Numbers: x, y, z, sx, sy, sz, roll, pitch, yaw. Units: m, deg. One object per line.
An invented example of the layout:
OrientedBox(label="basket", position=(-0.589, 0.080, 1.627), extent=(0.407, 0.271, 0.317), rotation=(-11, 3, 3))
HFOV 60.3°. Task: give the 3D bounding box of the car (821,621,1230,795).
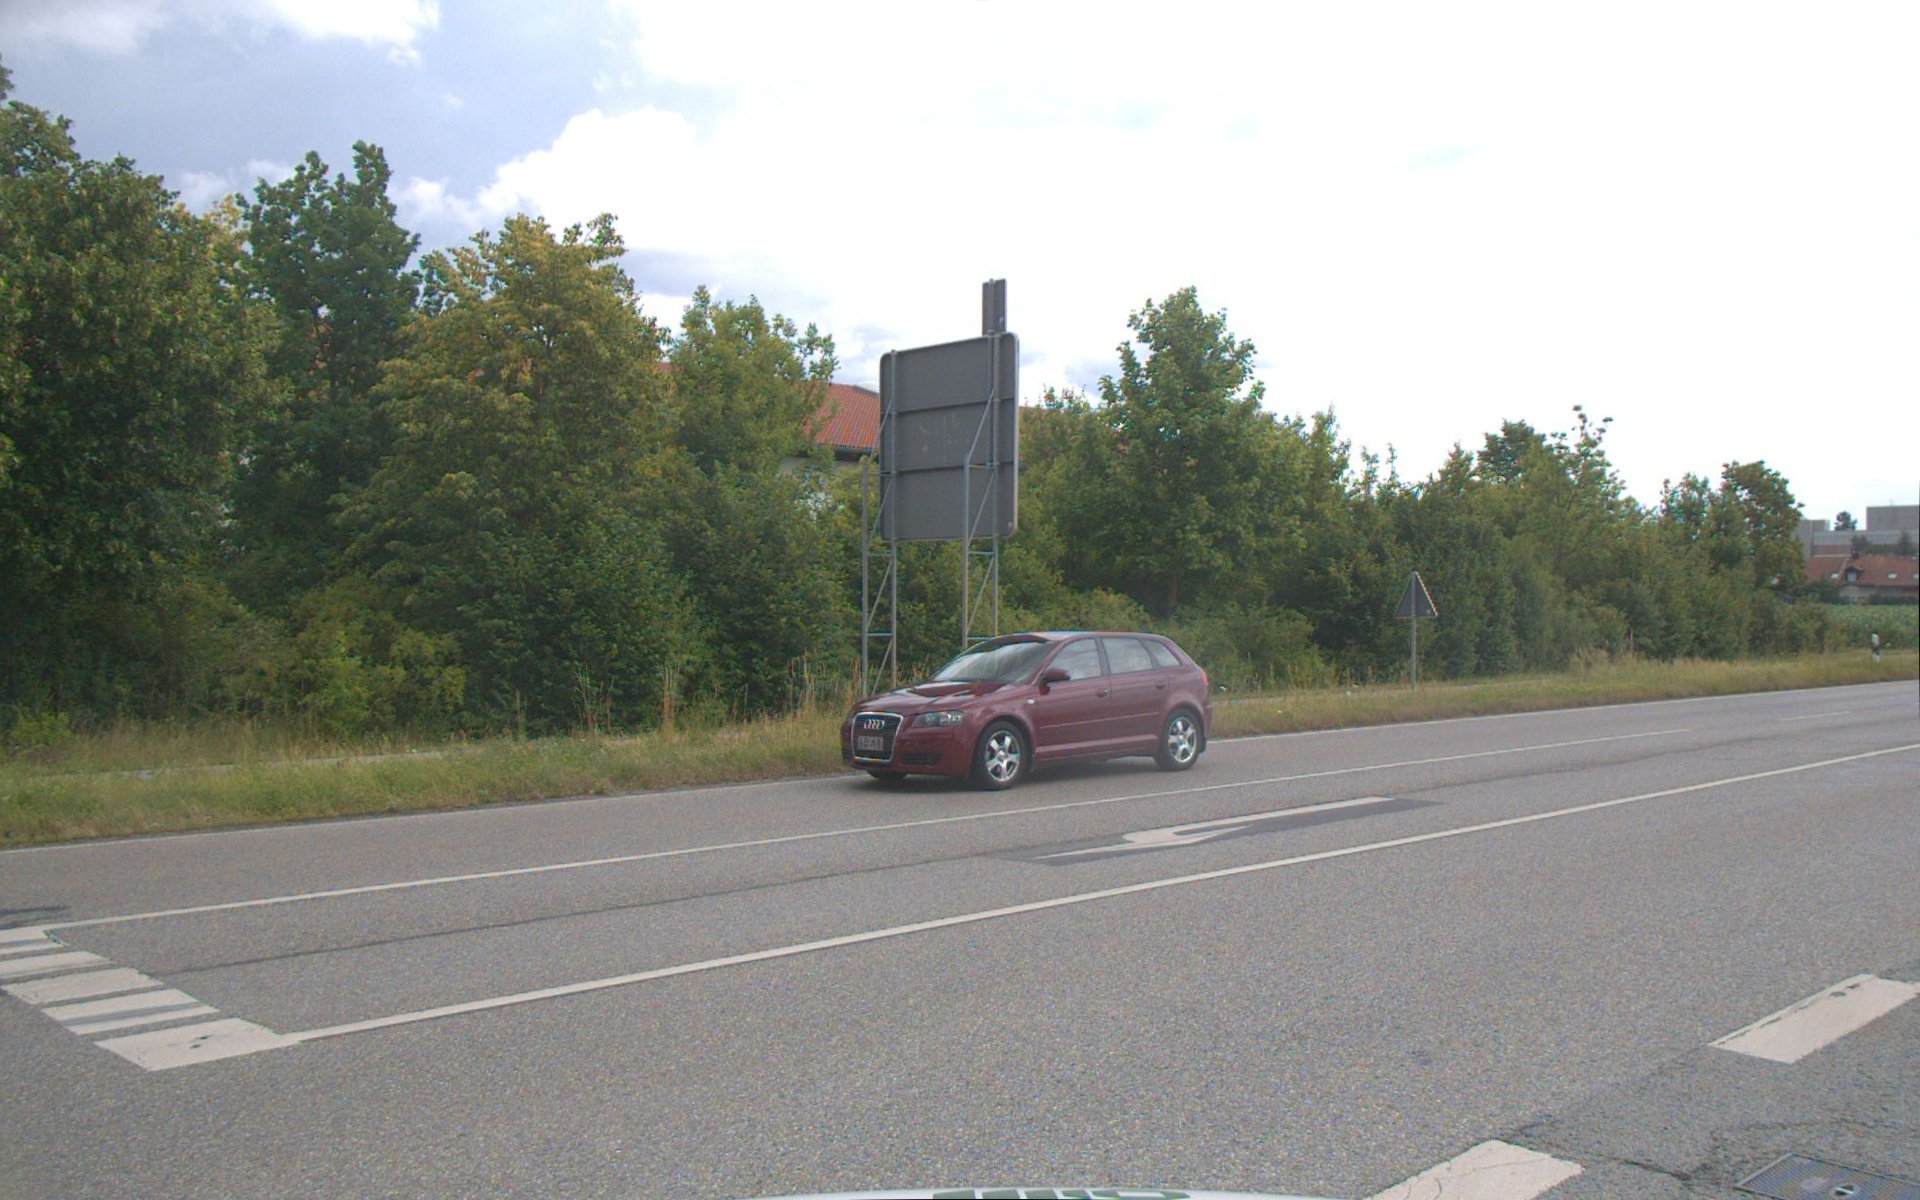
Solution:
OrientedBox(label="car", position=(0.740, 0.956, 16.214), extent=(4.057, 1.426, 1.651), rotation=(-1, -1, -44))
